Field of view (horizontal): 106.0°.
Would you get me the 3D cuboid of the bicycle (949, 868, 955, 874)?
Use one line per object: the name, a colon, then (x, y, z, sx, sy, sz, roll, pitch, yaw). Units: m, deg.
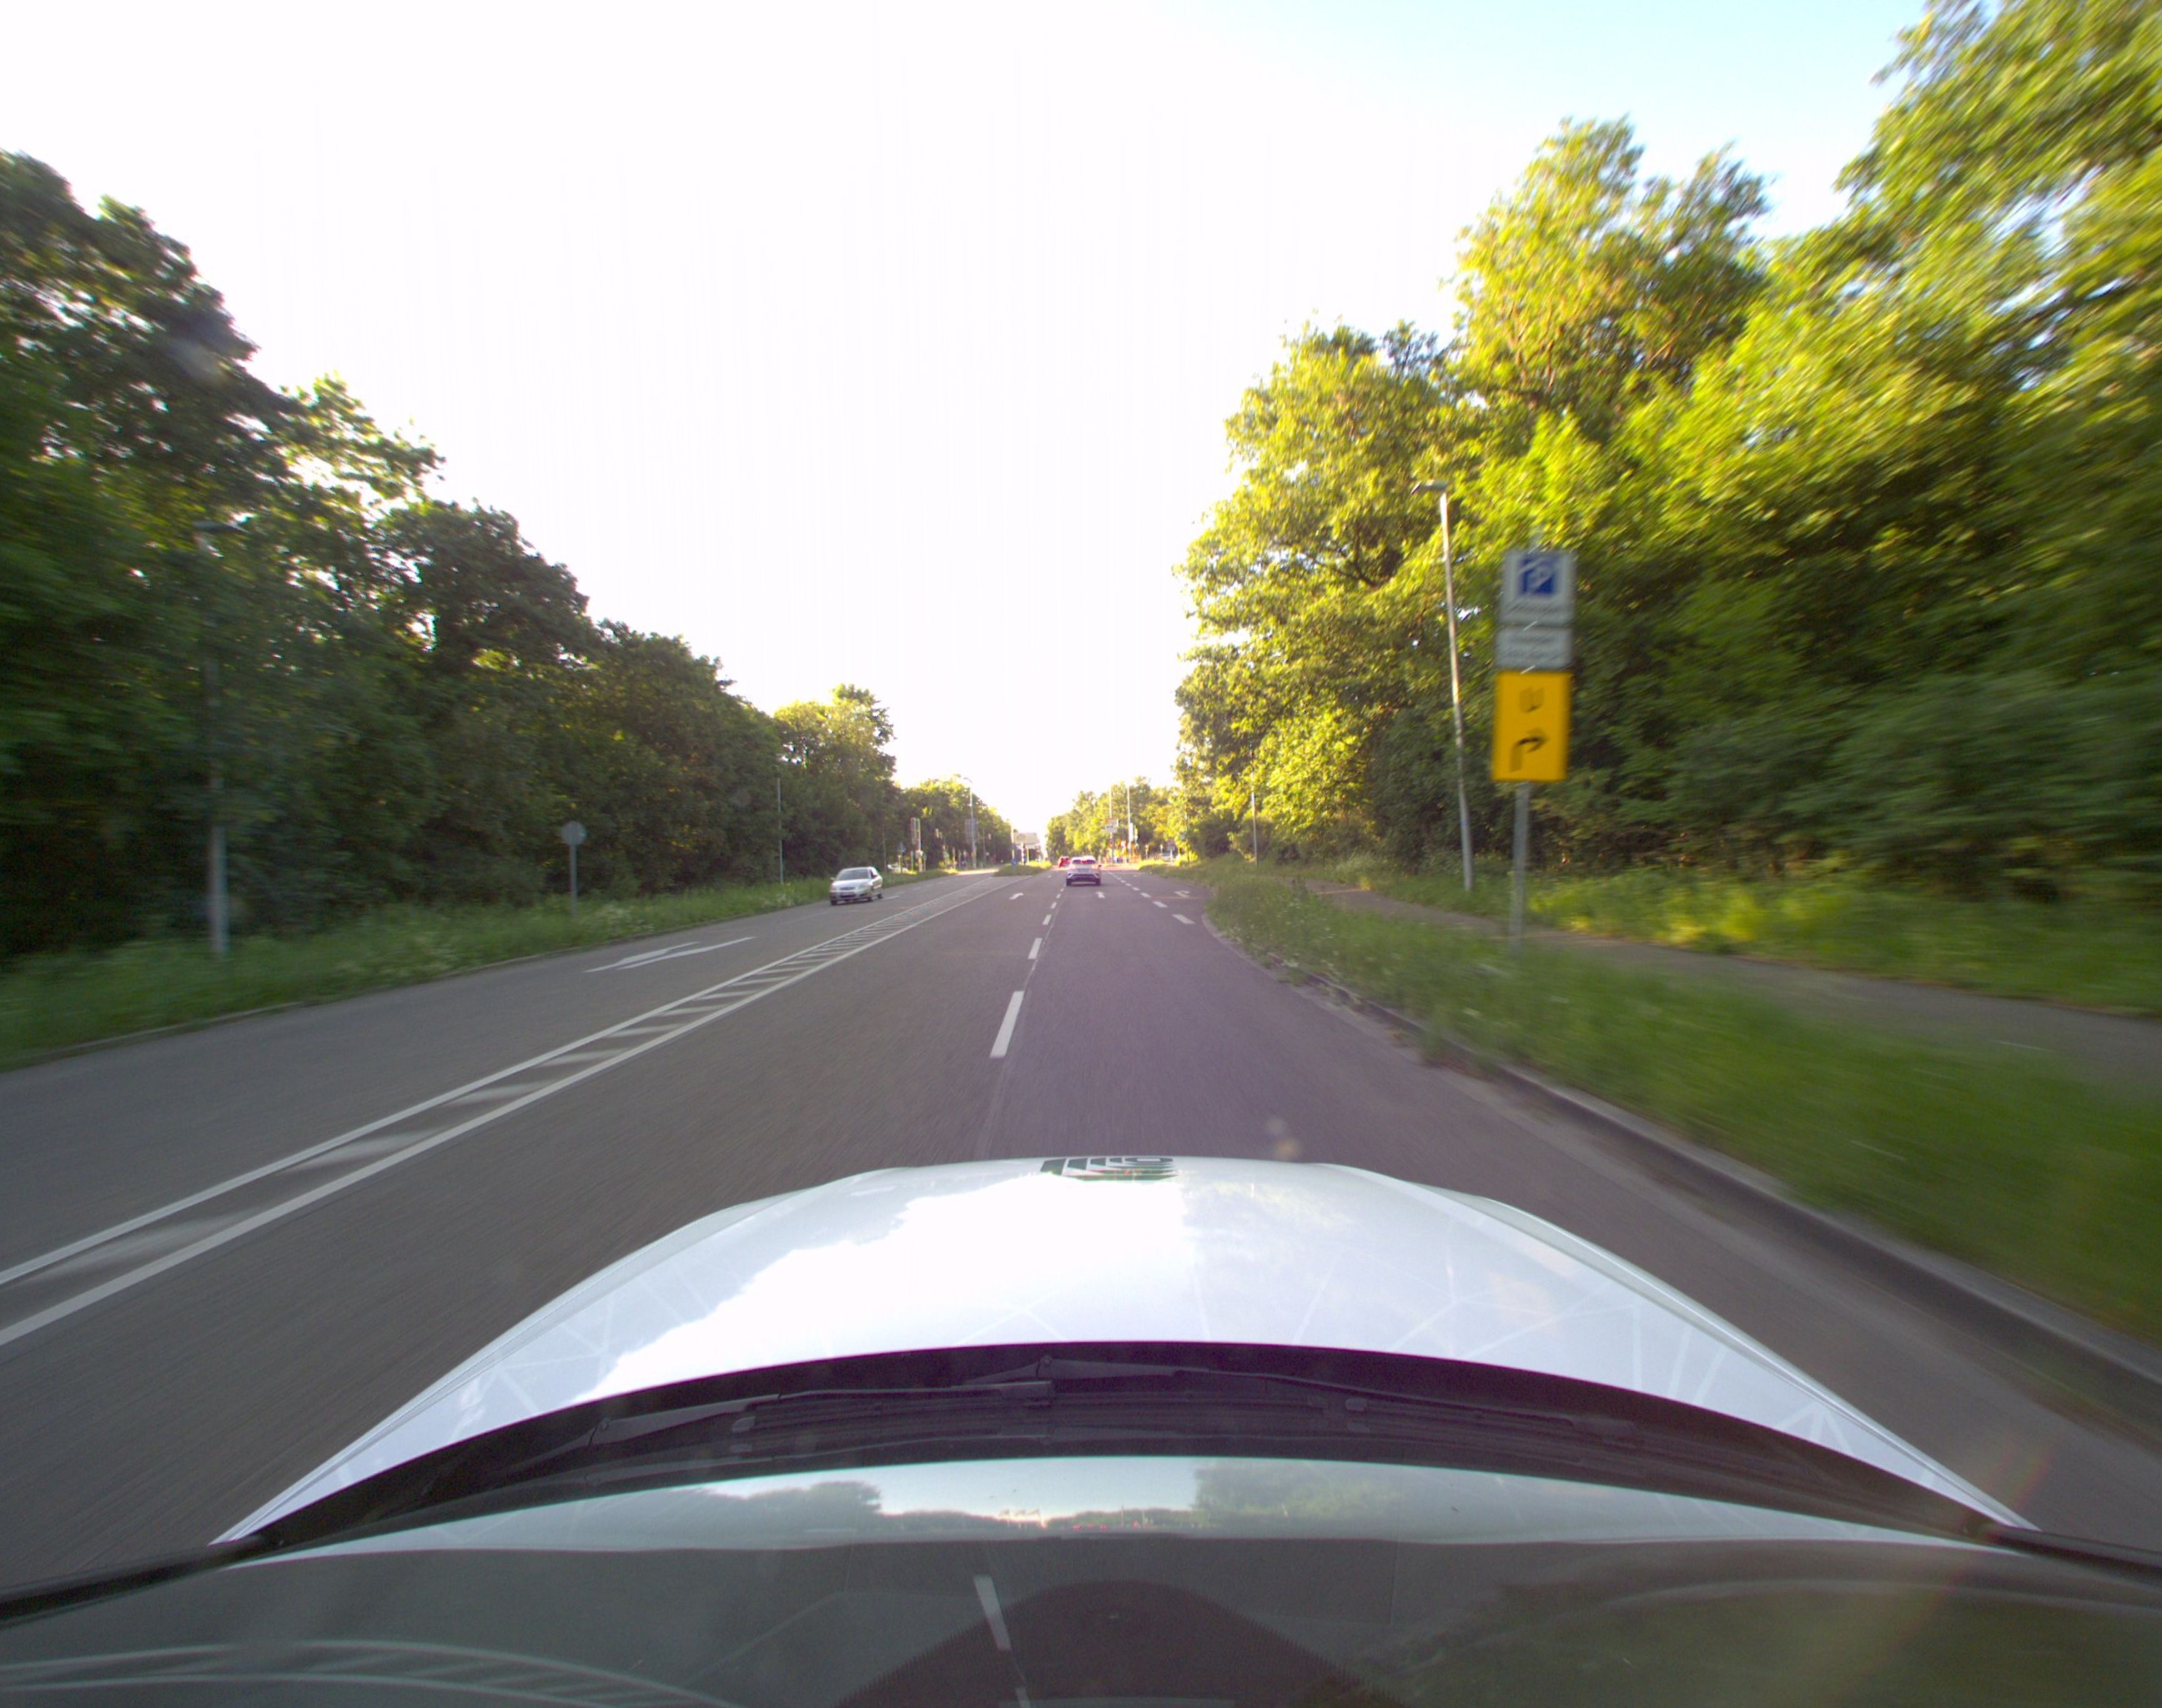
bicycle: (-21.400, 2.869, 135.120, 0.712, 0.914, 1.912, -2, 0, 3)

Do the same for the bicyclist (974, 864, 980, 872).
bicyclist: (-17.382, 2.283, 135.928, 0.712, 1.339, 0.991, -2, -1, 3)

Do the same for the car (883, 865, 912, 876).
car: (-26.735, 2.356, 118.702, 3.807, 1.389, 1.912, -2, -1, -26)

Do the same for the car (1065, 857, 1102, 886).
car: (0.109, 0.940, 43.842, 1.857, 1.444, 3.999, -1, -1, 0)

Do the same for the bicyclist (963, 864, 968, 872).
bicyclist: (-19.262, 2.323, 135.913, 0.712, 1.356, 0.991, -2, -1, 3)

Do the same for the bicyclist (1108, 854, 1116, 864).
bicyclist: (5.703, 0.957, 150.564, 1.020, 1.930, 0.958, -1, -1, -32)

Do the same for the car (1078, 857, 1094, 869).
car: (0.588, 1.122, 101.403, 1.933, 1.414, 4.000, -2, 0, 0)

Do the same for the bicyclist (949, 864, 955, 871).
bicyclist: (-21.425, 2.277, 135.127, 0.712, 1.192, 0.991, -2, -1, 3)

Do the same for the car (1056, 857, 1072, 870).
car: (-2.299, 1.294, 108.879, 1.990, 1.684, 3.994, -2, 0, -4)

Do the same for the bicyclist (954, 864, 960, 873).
bicyclist: (-20.519, 2.359, 135.027, 0.707, 1.389, 0.991, -2, -1, 3)

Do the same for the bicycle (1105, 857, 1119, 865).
bicycle: (5.725, 1.252, 150.562, 2.650, 1.383, 0.958, -1, 0, -33)

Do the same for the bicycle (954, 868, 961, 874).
bicycle: (-20.494, 2.840, 135.056, 0.712, 0.914, 1.912, -2, 0, 3)

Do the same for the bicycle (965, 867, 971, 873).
bicycle: (-19.177, 2.764, 138.004, 0.712, 0.914, 1.912, -2, 0, 3)

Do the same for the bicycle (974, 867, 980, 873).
bicycle: (-17.373, 2.676, 135.864, 0.712, 0.914, 1.912, -2, 0, 3)

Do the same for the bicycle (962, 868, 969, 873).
bicycle: (-19.246, 2.757, 135.912, 0.712, 0.914, 1.912, -2, 0, 3)

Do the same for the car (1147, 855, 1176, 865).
car: (14.408, 1.038, 145.945, 4.837, 1.580, 1.985, -2, -1, -22)

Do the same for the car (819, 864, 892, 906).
car: (-9.414, 1.246, 34.350, 1.824, 1.455, 4.477, -5, 0, -2)
